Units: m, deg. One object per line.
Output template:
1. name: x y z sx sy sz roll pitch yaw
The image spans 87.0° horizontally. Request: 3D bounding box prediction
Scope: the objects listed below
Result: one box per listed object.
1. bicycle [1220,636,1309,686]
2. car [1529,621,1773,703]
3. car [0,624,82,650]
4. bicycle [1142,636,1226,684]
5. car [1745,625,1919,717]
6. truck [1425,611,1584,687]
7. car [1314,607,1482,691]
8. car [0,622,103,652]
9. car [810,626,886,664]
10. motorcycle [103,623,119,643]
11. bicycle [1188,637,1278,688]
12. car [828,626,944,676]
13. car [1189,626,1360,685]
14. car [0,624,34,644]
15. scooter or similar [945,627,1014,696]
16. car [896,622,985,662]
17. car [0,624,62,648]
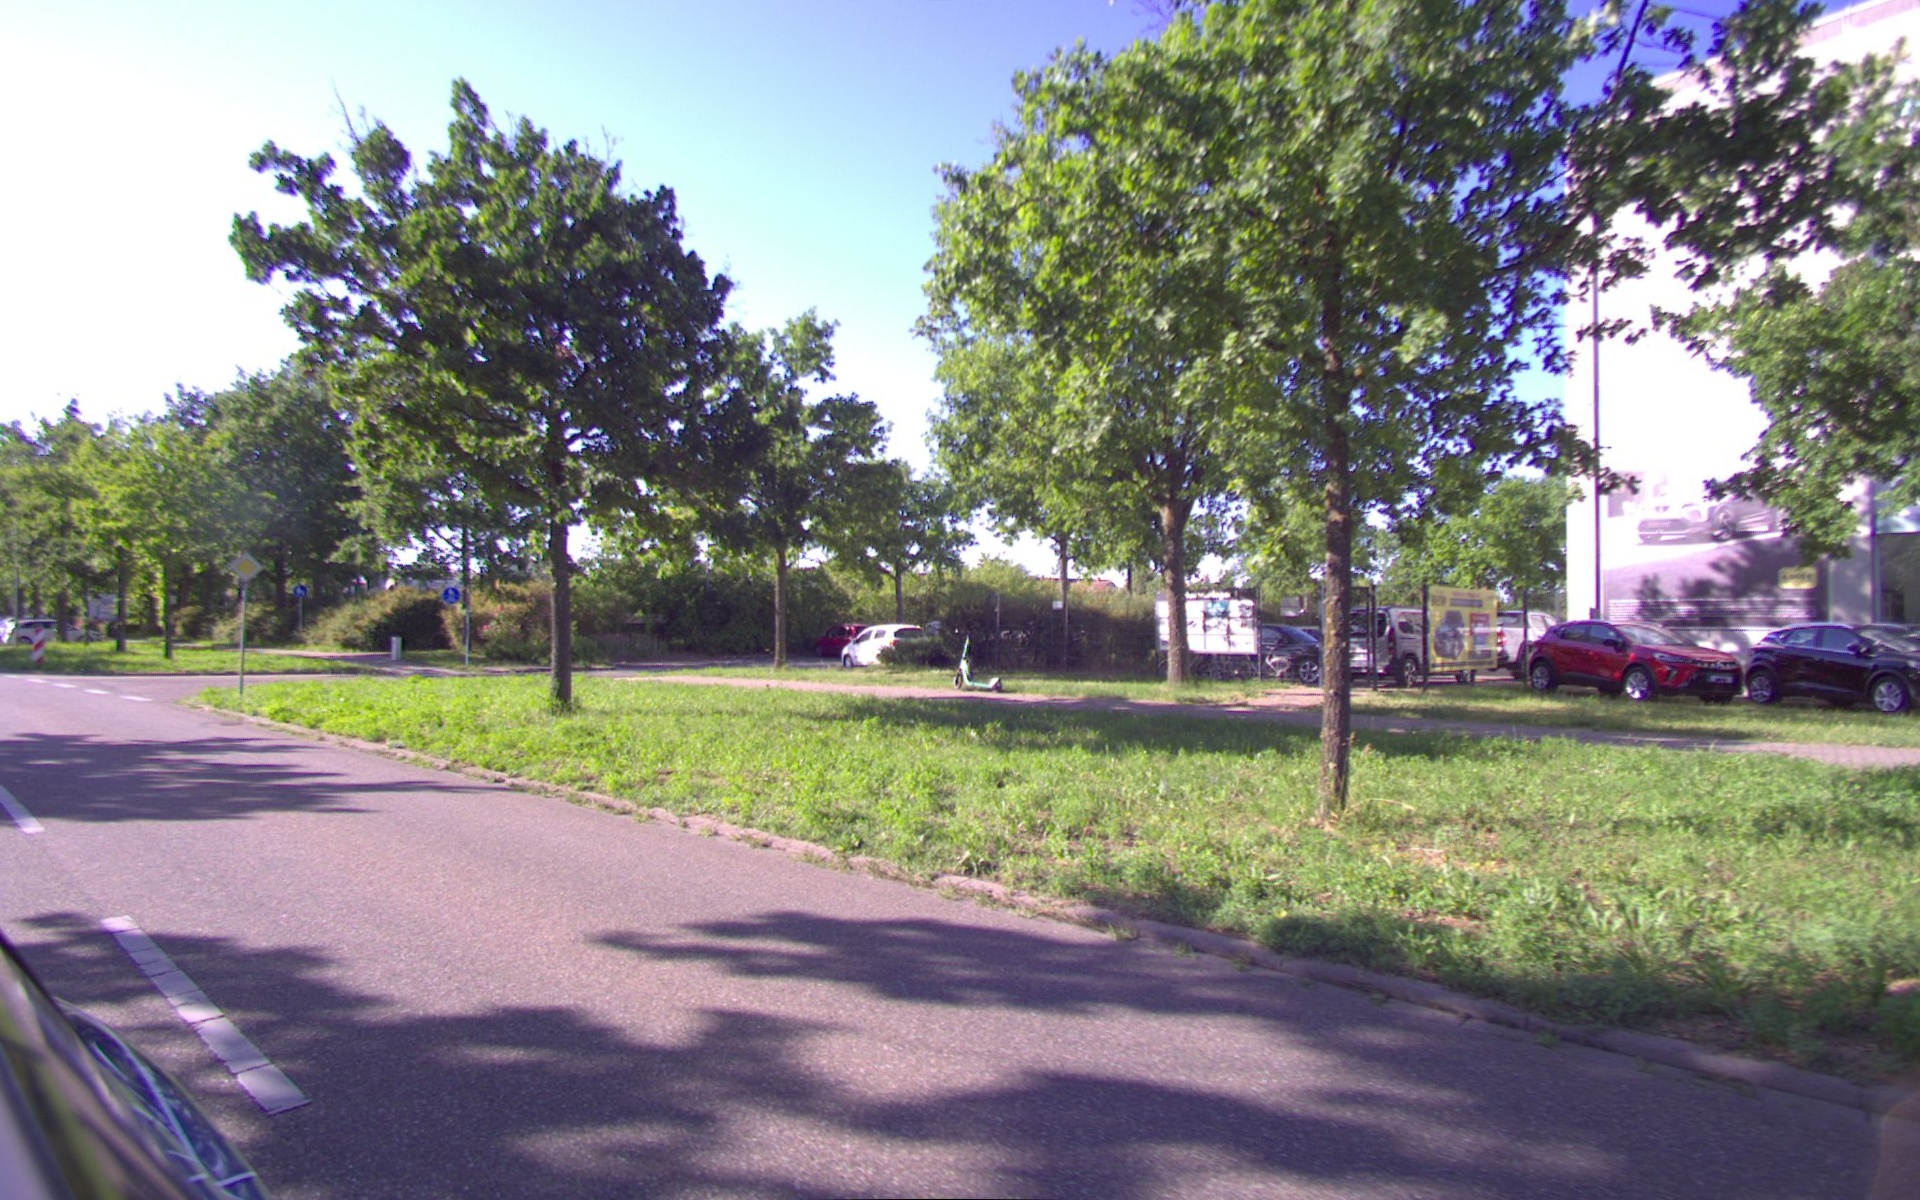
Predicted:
1. bicycle: 7.035 1.388 23.437 1.890 1.096 0.632 -2 -2 41
2. car: 13.476 1.168 20.068 1.773 1.459 4.005 0 -2 -6
3. car: -59.965 2.402 65.682 2.088 1.522 4.364 -2 -1 43
4. bicycle: 5.311 1.403 24.068 1.890 1.096 0.632 -2 -2 41
5. car: 16.173 1.179 17.617 1.775 1.459 4.001 0 -2 -1
6. truck: 14.694 1.243 27.227 4.614 1.797 2.030 -1 -1 -38
7. car: 10.571 1.113 24.354 3.965 1.797 2.030 -1 -1 -38
8. car: -52.390 2.126 58.122 2.189 1.570 4.580 -2 -1 40
9. car: -5.006 1.981 45.051 1.776 1.516 3.560 1 -1 -37
10. motorcycle: -63.840 2.492 76.085 1.992 1.443 0.729 -2 1 45
11. bicycle: 6.158 1.397 22.899 1.890 1.096 0.632 -2 -2 41
12. car: -2.497 1.689 33.277 1.967 1.516 3.925 1 -4 -37
13. car: 8.348 1.446 27.096 4.002 1.459 1.775 -2 -3 45
14. car: -82.375 2.927 87.055 4.015 1.655 1.877 -1 -1 -44
15. scooter or similar: 0.372 1.175 19.606 1.441 1.289 0.390 -2 -2 43
16. car: -0.994 1.960 48.235 1.966 1.798 4.896 1 -2 -33
17. car: -67.470 2.574 72.716 4.362 1.568 2.089 -1 -1 -45
